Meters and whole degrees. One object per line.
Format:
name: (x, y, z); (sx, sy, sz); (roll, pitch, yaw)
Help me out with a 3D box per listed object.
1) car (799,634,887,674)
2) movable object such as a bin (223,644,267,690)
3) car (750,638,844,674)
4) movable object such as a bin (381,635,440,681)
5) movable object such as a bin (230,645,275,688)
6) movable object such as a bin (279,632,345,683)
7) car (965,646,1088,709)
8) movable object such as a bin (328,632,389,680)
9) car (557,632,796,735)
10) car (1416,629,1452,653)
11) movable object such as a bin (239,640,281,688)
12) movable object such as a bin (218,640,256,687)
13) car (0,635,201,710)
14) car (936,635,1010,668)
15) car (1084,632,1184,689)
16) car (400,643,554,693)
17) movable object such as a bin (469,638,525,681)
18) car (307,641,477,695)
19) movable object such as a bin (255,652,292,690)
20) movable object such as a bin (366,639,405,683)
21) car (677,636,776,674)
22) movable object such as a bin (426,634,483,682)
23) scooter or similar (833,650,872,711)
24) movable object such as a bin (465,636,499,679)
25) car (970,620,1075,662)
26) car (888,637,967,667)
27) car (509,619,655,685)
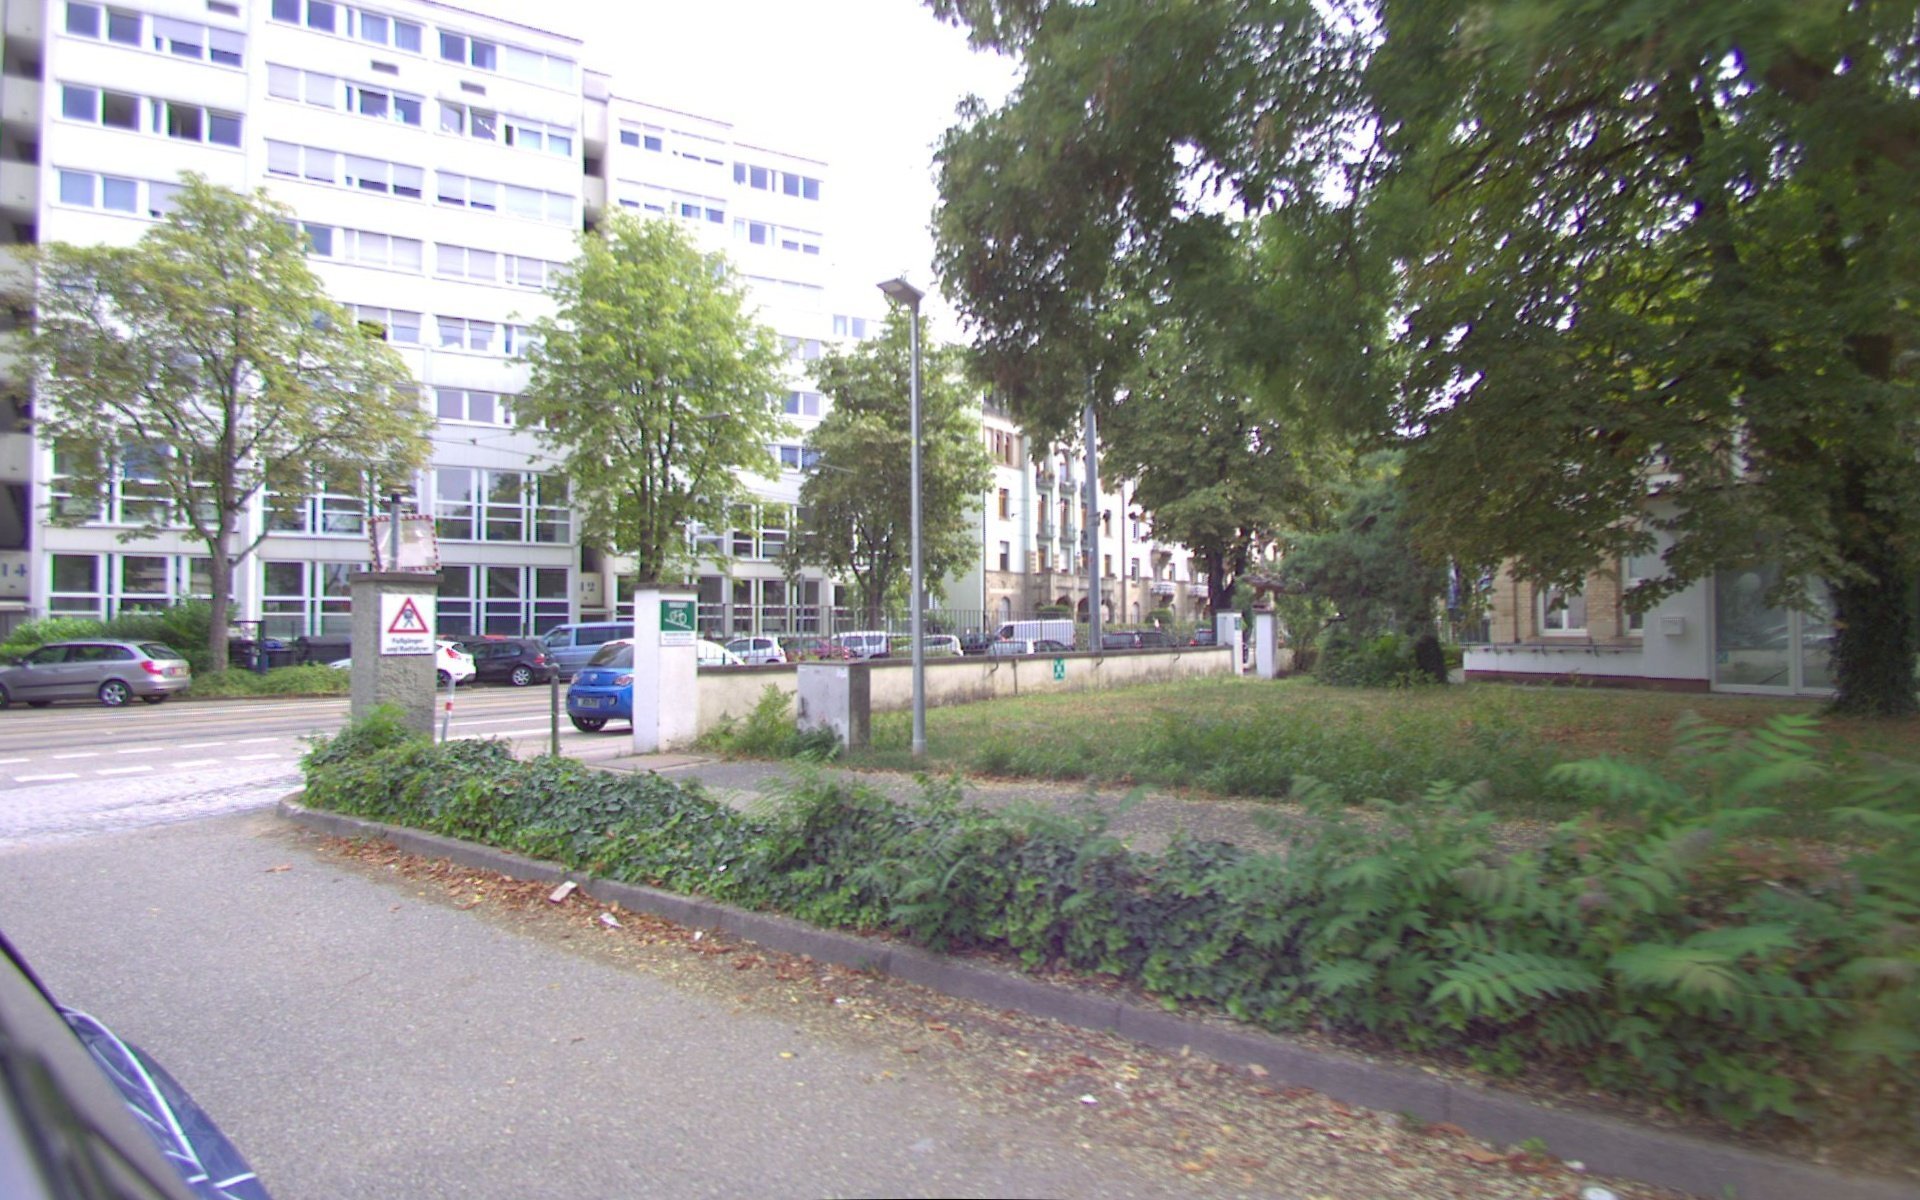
car: (-5.049, 2.327, 43.747); (3.712, 1.630, 1.817); (-1, -2, -6)
movable object such as a bin: (-22.804, 2.124, 32.306); (1.100, 1.402, 1.066); (1, -3, -34)
car: (-6.610, 2.280, 41.317); (3.712, 1.349, 1.817); (-1, -2, -6)
movable object such as a bin: (-18.436, 1.932, 33.967); (1.334, 1.514, 1.336); (-3, -3, 39)
movable object such as a bin: (-23.404, 2.180, 33.505); (1.160, 1.380, 1.178); (1, -3, -34)
movable object such as a bin: (-20.180, 1.776, 31.526); (1.329, 1.541, 1.397); (-3, -3, 39)
car: (1.778, 1.951, 26.182); (1.629, 1.476, 3.532); (-2, -3, 34)
movable object such as a bin: (-19.481, 1.805, 32.779); (1.334, 1.515, 1.320); (-3, -3, 39)
car: (-4.515, 1.278, 16.517); (1.629, 1.476, 3.560); (-2, -3, 34)
car: (33.486, 2.900, 71.463); (1.656, 1.646, 3.860); (-2, -3, 34)
movable object such as a bin: (-24.010, 2.187, 34.745); (1.160, 1.580, 1.178); (1, -3, -34)
movable object such as a bin: (-22.218, 1.943, 31.116); (0.897, 1.418, 1.027); (1, -3, -34)
car: (-19.797, 1.612, 22.839); (3.986, 1.549, 1.599); (-1, -2, -10)
car: (0.705, 2.668, 52.378); (3.604, 1.601, 1.762); (-1, -2, 9)
car: (5.476, 1.846, 31.549); (1.656, 1.646, 3.681); (-2, -3, 34)
car: (-14.633, 2.064, 30.870); (3.908, 1.398, 1.818); (-1, -4, -10)
movable object such as a bin: (-16.617, 2.130, 36.335); (1.334, 1.469, 1.382); (-3, -3, 39)
car: (-15.759, 1.874, 28.255); (3.799, 1.403, 1.638); (0, -2, -11)
movable object such as a bin: (-20.600, 2.129, 30.374); (0.786, 1.114, 0.733); (-3, -3, 41)
movable object such as a bin: (-20.921, 2.205, 36.860); (1.154, 1.525, 1.183); (0, -3, -26)
car: (-8.885, 2.084, 38.755); (3.586, 1.340, 1.771); (-1, -2, -10)
movable object such as a bin: (-17.516, 1.985, 35.100); (1.334, 1.608, 1.336); (-3, -3, 39)
scooter or similar: (-2.149, 1.612, 20.210); (0.363, 1.176, 1.008); (1, -5, -31)
movable object such as a bin: (-18.110, 2.177, 38.341); (1.154, 1.580, 1.183); (0, -3, -26)
car: (3.330, 2.210, 55.003); (5.355, 2.192, 2.151); (-1, -2, -6)
car: (-1.601, 2.521, 49.309); (3.586, 1.340, 1.771); (-1, -2, -10)
car: (-12.415, 1.694, 33.513); (4.275, 2.080, 2.004); (0, -2, -10)
